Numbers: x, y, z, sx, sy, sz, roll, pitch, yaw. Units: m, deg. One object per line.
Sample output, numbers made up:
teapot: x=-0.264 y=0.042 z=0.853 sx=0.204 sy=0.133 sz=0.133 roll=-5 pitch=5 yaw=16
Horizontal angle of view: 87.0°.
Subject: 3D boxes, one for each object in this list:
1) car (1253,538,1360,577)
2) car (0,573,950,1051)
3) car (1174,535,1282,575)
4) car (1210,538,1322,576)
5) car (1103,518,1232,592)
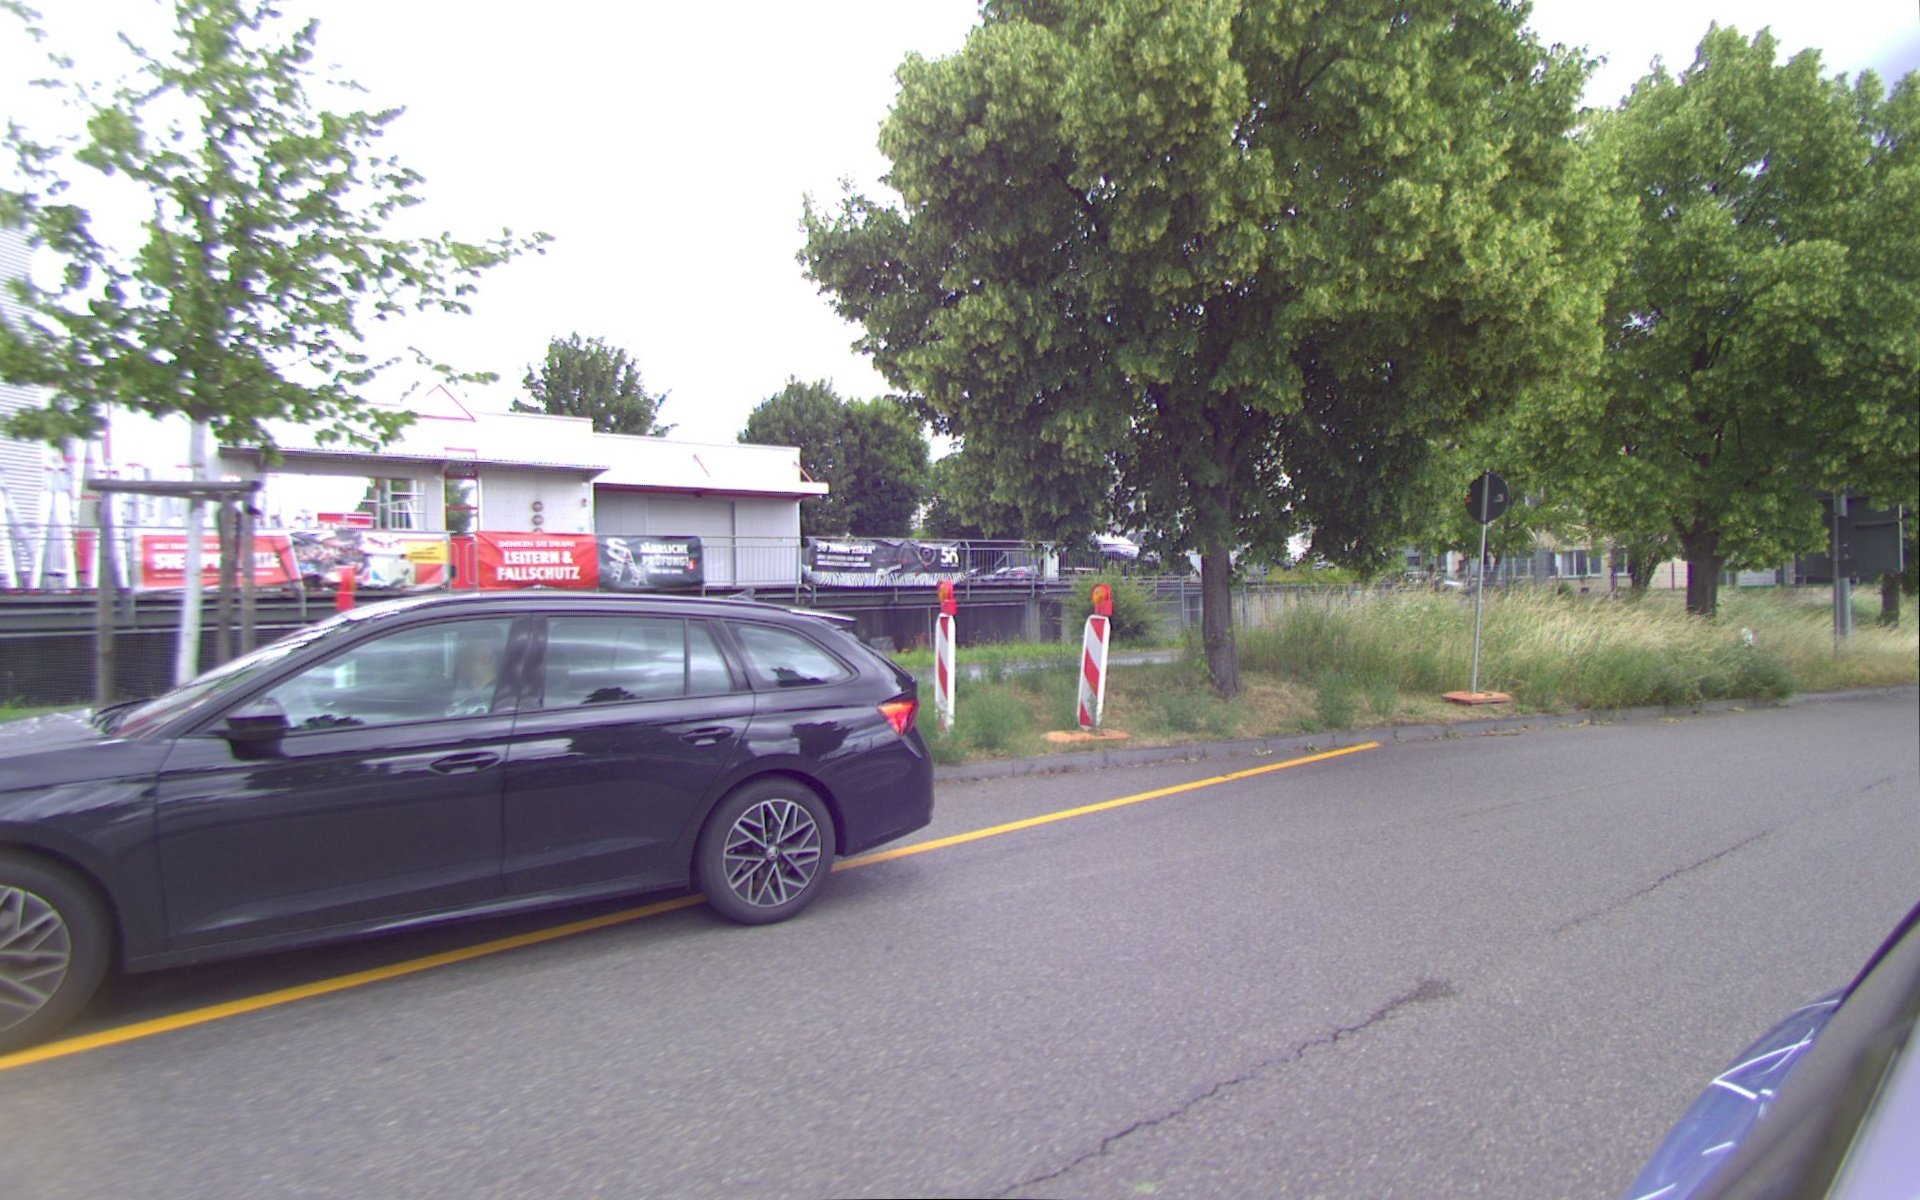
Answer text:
car: x=14.120 y=-1.695 z=41.454 sx=1.721 sy=1.501 sz=3.941 roll=0 pitch=1 yaw=-33
car: x=-2.306 y=0.627 z=4.556 sx=4.195 sy=1.450 sz=1.843 roll=0 pitch=1 yaw=-33
car: x=10.028 y=-1.640 z=38.085 sx=1.721 sy=1.381 sz=3.769 roll=0 pitch=1 yaw=-33
car: x=11.760 y=-1.615 z=39.106 sx=1.721 sy=1.385 sz=3.941 roll=0 pitch=1 yaw=-33
car: x=6.163 y=-1.280 z=30.338 sx=1.611 sy=1.984 sz=3.768 roll=2 pitch=-2 yaw=-33
